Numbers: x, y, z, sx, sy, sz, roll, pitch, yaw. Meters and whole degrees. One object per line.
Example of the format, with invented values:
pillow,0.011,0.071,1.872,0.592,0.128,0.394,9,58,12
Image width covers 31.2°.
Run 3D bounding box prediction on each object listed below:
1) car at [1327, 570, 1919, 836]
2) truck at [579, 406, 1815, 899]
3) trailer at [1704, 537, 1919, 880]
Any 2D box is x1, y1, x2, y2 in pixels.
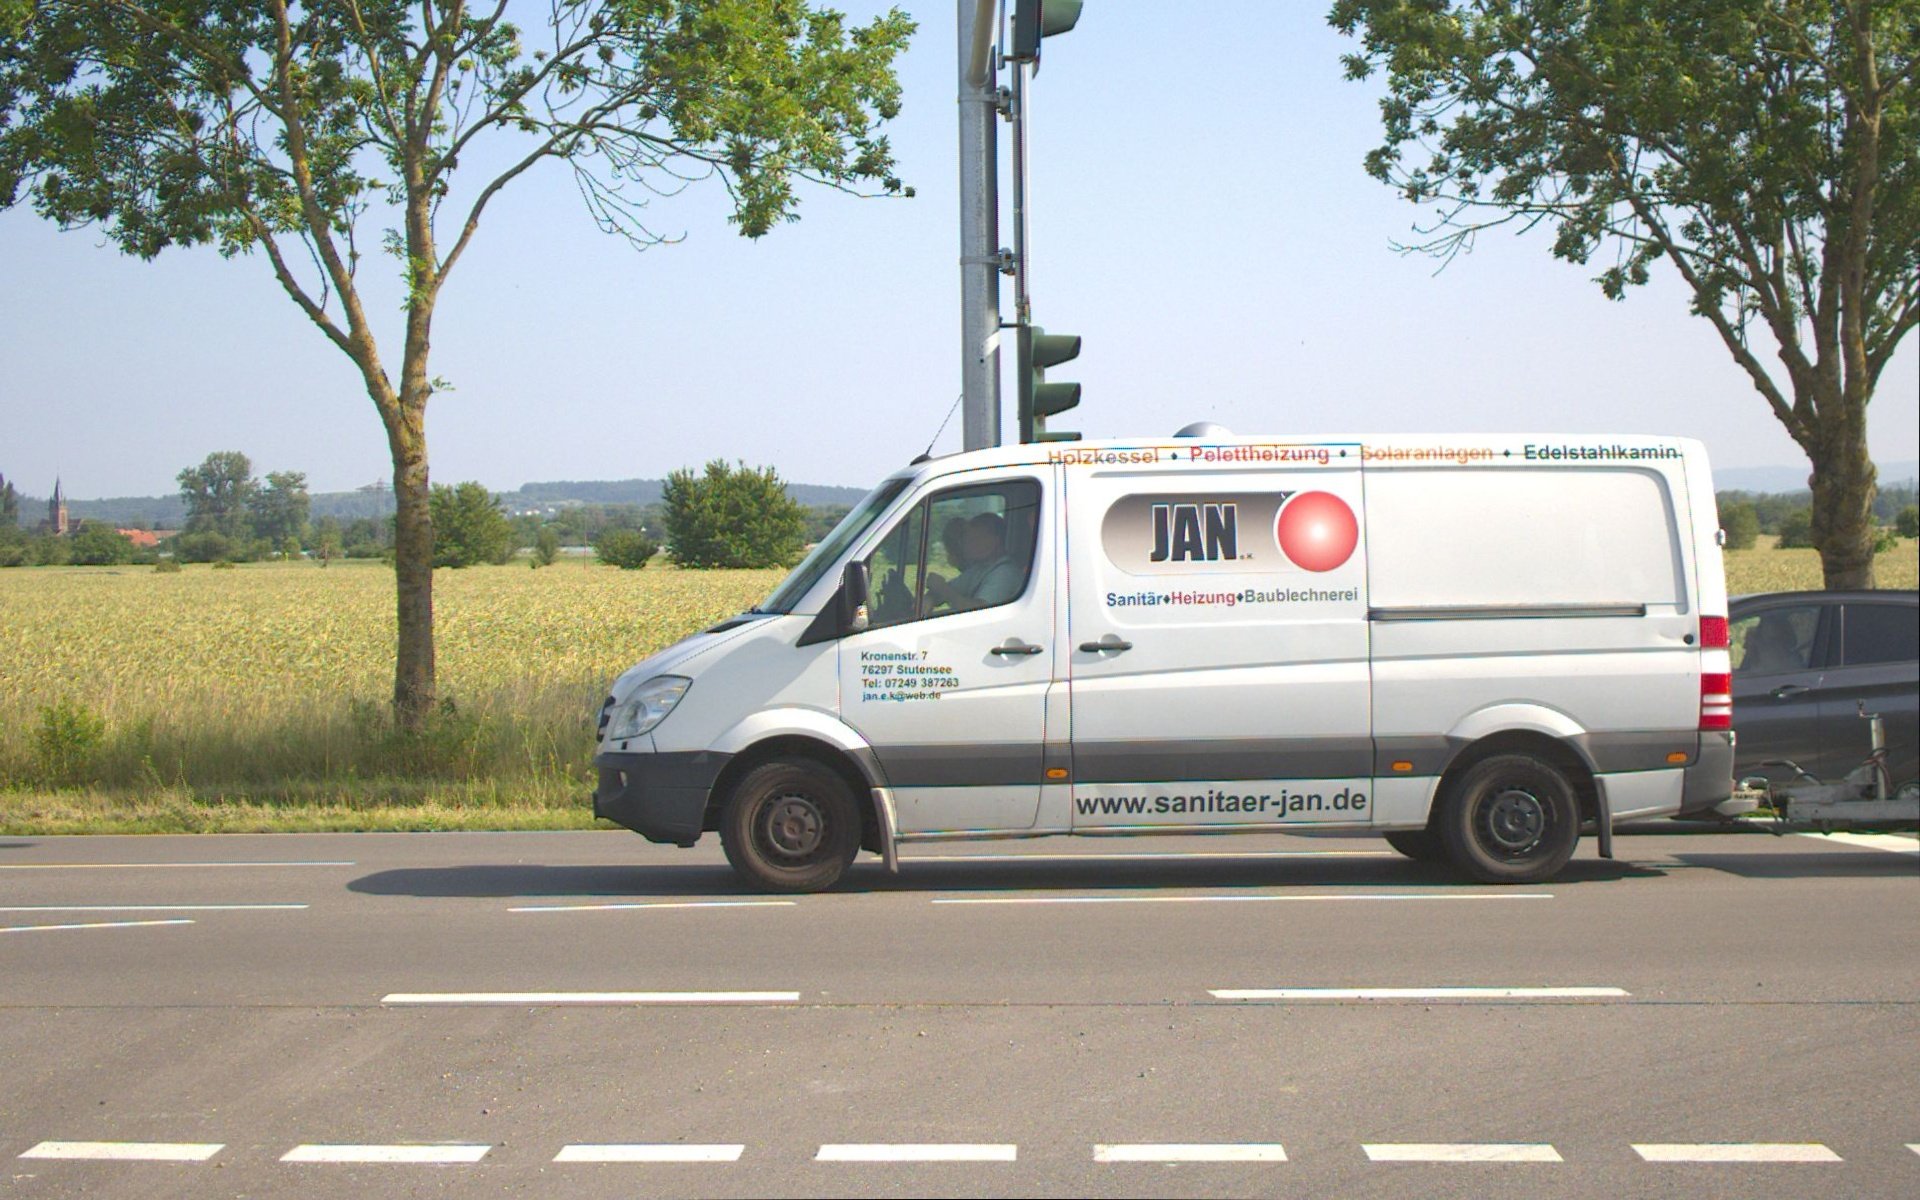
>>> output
car,4.519,0.660,22.437,3.986,1.620,1.890,-1,-2,-1
truck,1.144,0.247,18.140,6.177,2.396,2.071,0,0,-4
trailer,6.731,0.536,18.477,4.995,1.732,1.981,0,0,-1
